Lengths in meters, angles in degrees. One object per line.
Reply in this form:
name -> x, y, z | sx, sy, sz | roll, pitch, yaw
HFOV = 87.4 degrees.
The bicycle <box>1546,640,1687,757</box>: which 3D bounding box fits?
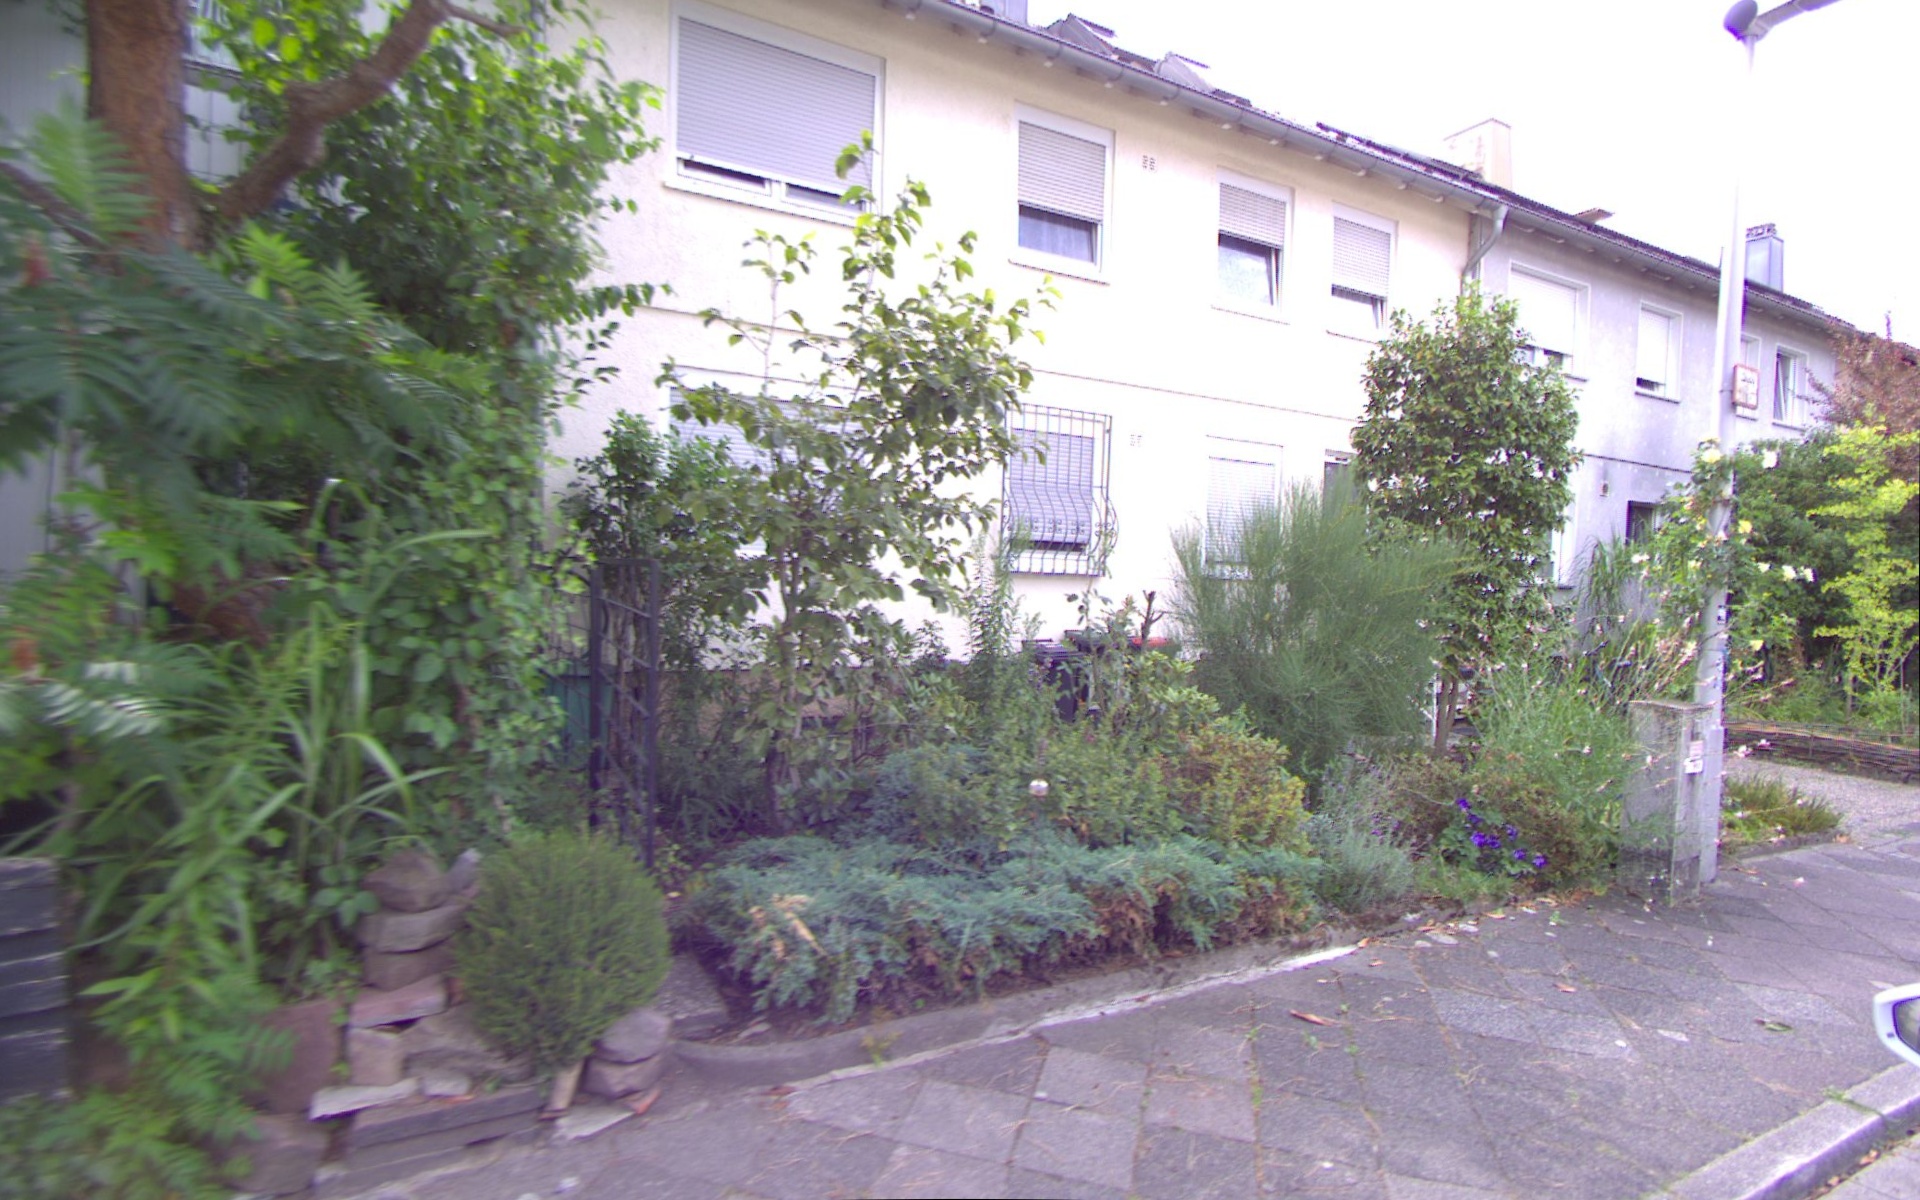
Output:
bicycle -> 6.241, 0.894, 9.649 | 0.518, 0.905, 1.703 | 1, 2, 12
